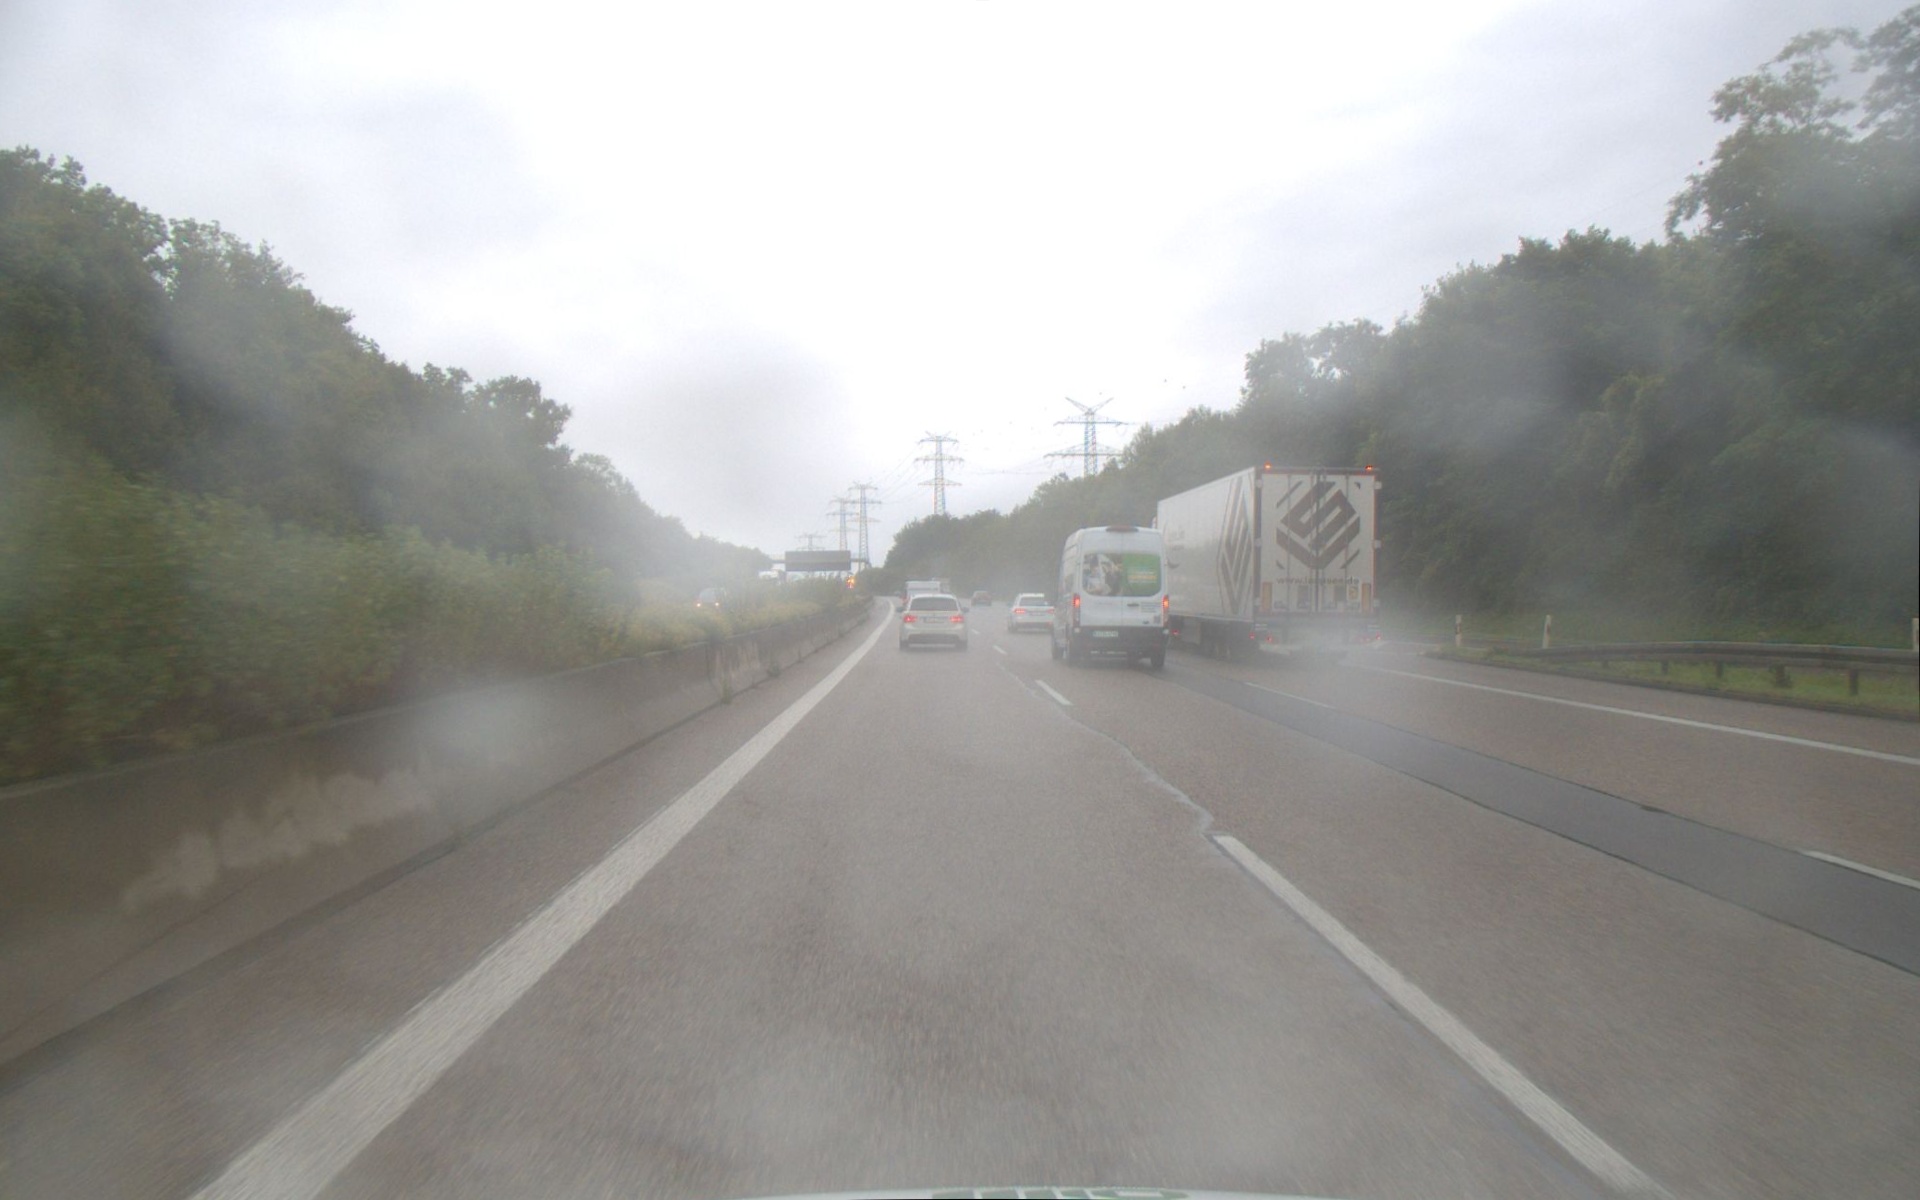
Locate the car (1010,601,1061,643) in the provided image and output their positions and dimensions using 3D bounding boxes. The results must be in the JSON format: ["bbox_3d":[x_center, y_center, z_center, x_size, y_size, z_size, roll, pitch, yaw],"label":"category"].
[{"bbox_3d":[2.770,0.781,60.307,1.818,1.447,4.002,0,0,3],"label":"car"}]

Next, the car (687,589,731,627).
[{"bbox_3d":[-13.805,0.421,91.175,1.954,2.049,4.747,-1,0,-4],"label":"car"}]

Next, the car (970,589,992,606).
[{"bbox_3d":[2.043,-0.206,159.677,1.952,1.512,4.001,-2,-1,2],"label":"car"}]

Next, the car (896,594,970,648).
[{"bbox_3d":[-0.665,0.516,43.018,1.828,1.310,4.000,-1,0,0],"label":"car"}]

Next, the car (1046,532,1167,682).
[{"bbox_3d":[2.973,0.132,34.386,1.954,2.914,3.998,-1,0,-3],"label":"car"}]

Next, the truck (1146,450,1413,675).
[{"bbox_3d":[7.037,-0.703,39.158,3.530,4.408,13.196,0,0,-1],"label":"truck"}]

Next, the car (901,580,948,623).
[{"bbox_3d":[-1.529,0.057,72.818,1.807,1.803,4.001,-1,0,2],"label":"car"}]
